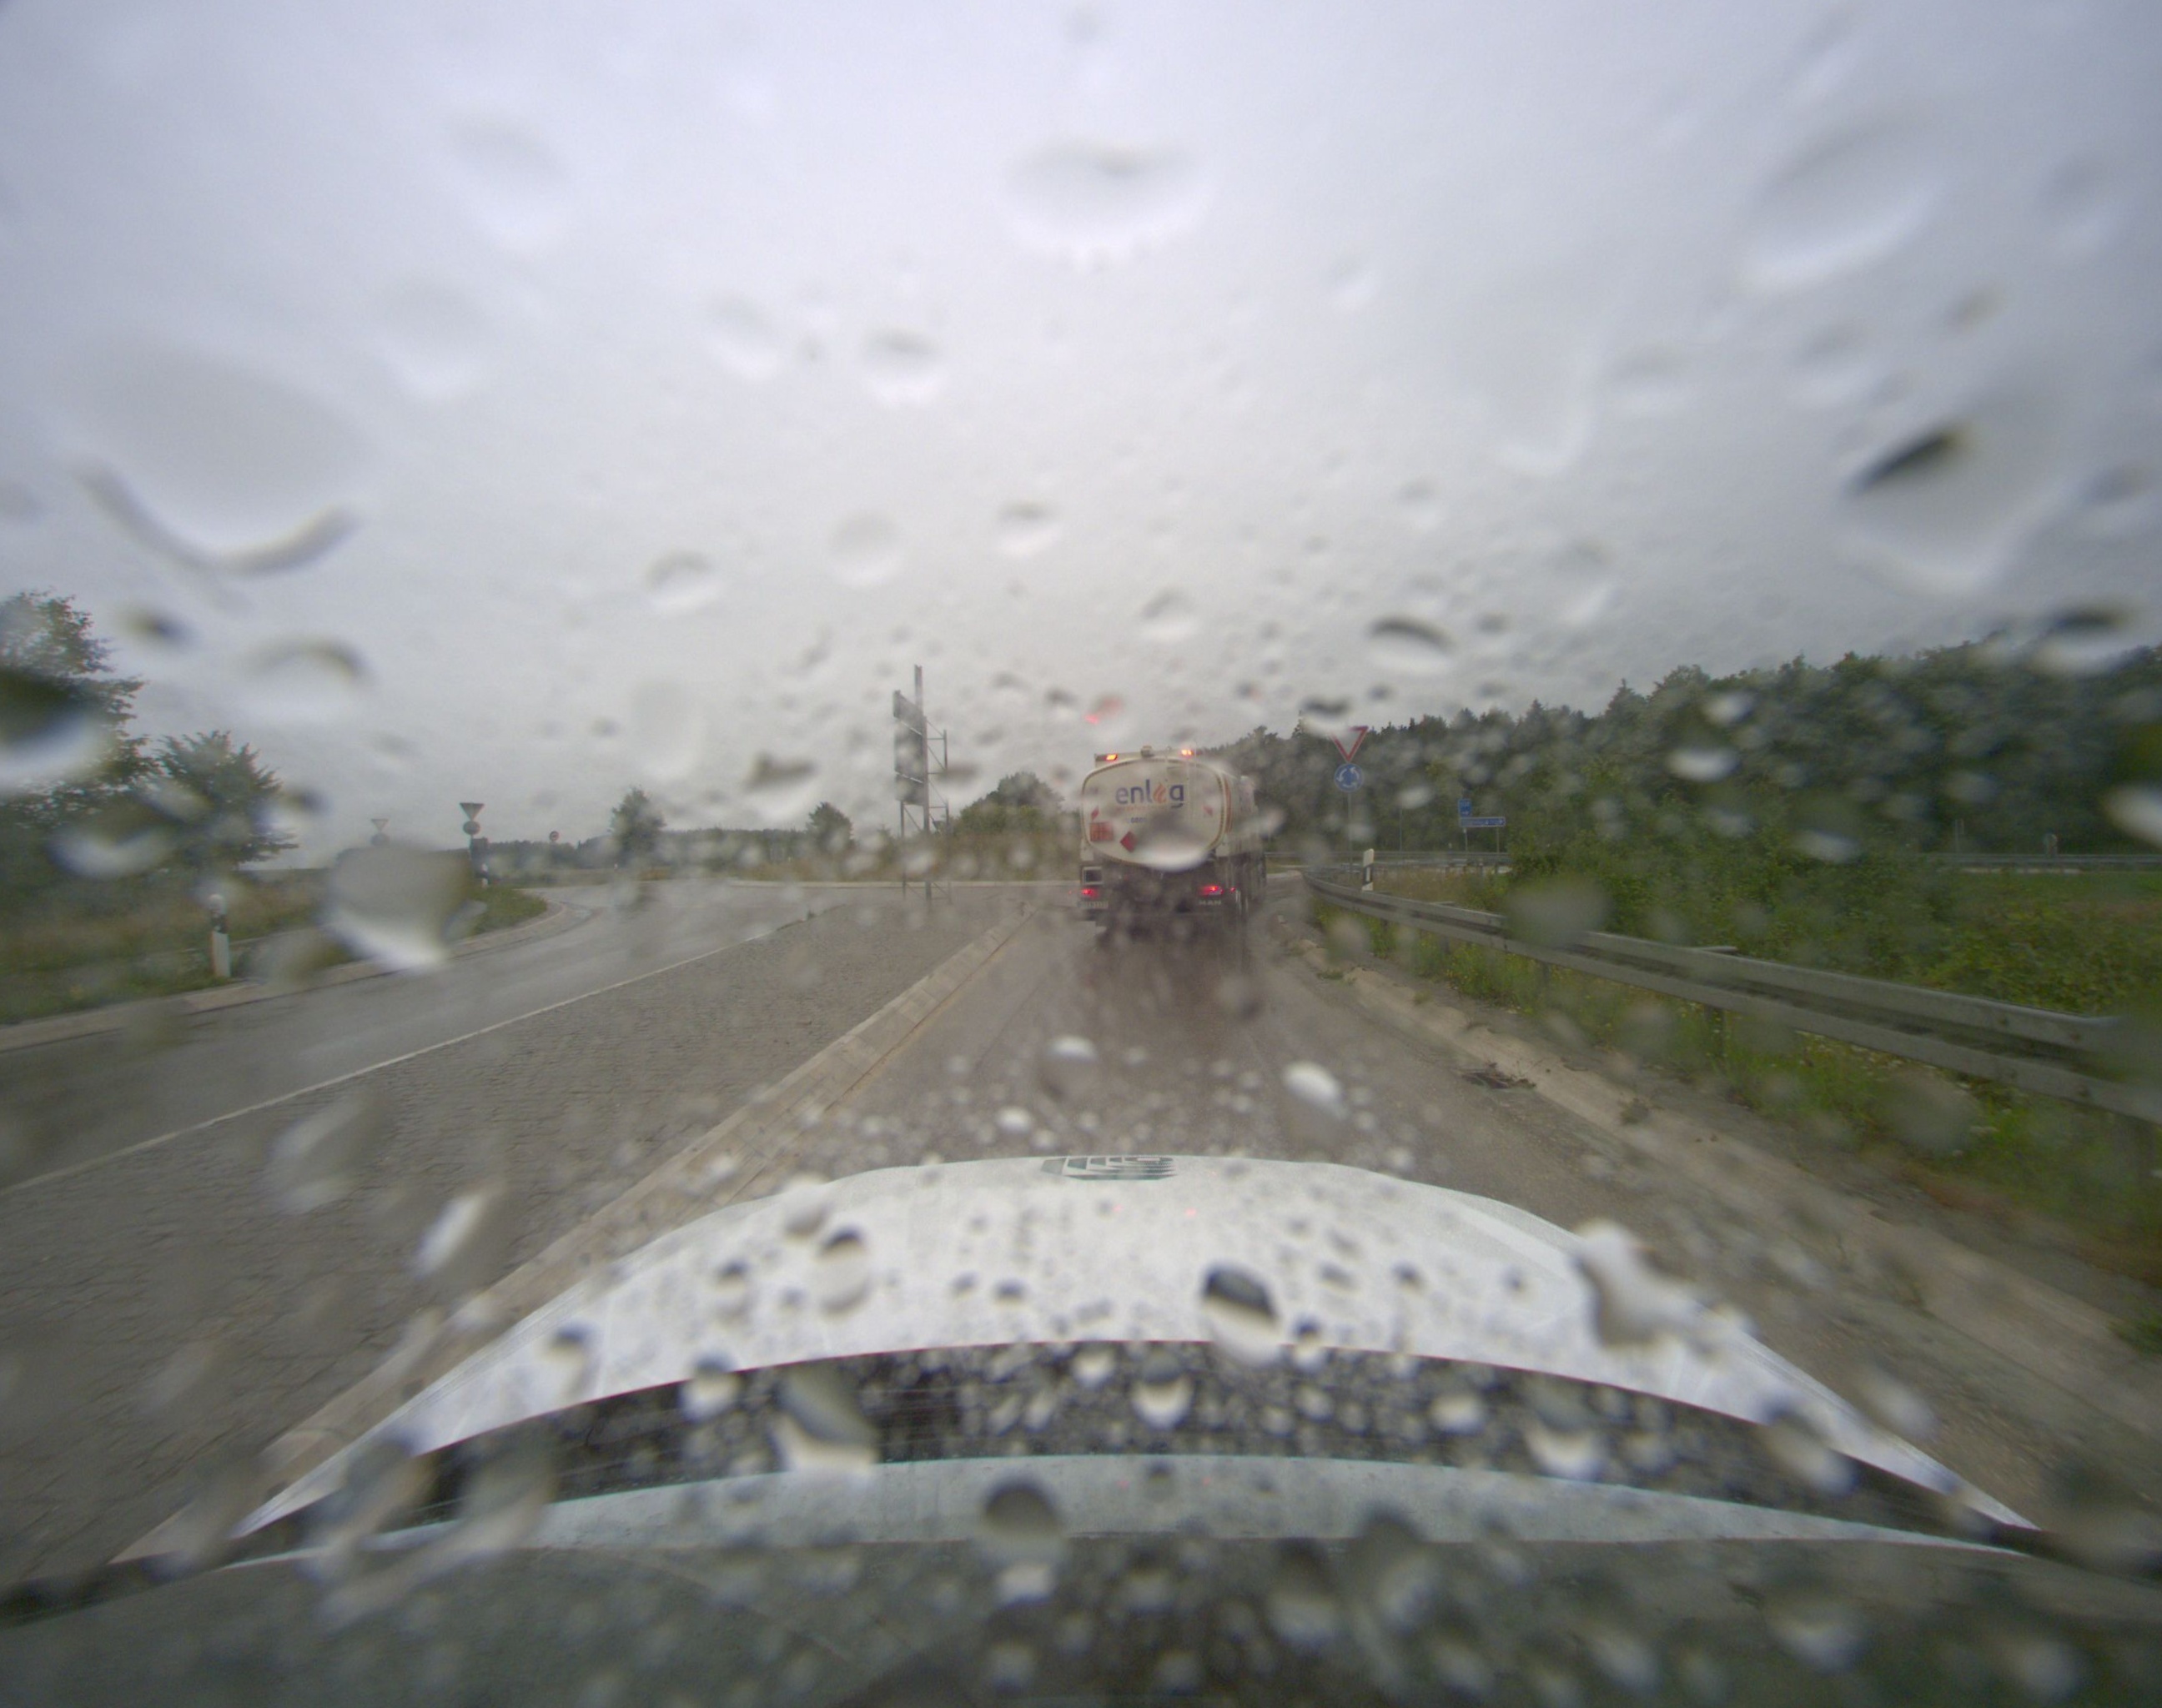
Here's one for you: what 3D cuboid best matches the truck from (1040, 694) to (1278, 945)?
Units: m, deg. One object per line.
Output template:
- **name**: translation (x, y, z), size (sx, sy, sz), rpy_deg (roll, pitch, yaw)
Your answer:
- **truck**: translation (2.183, -0.552, 17.137), size (3.015, 3.851, 8.864), rpy_deg (0, 0, 18)
